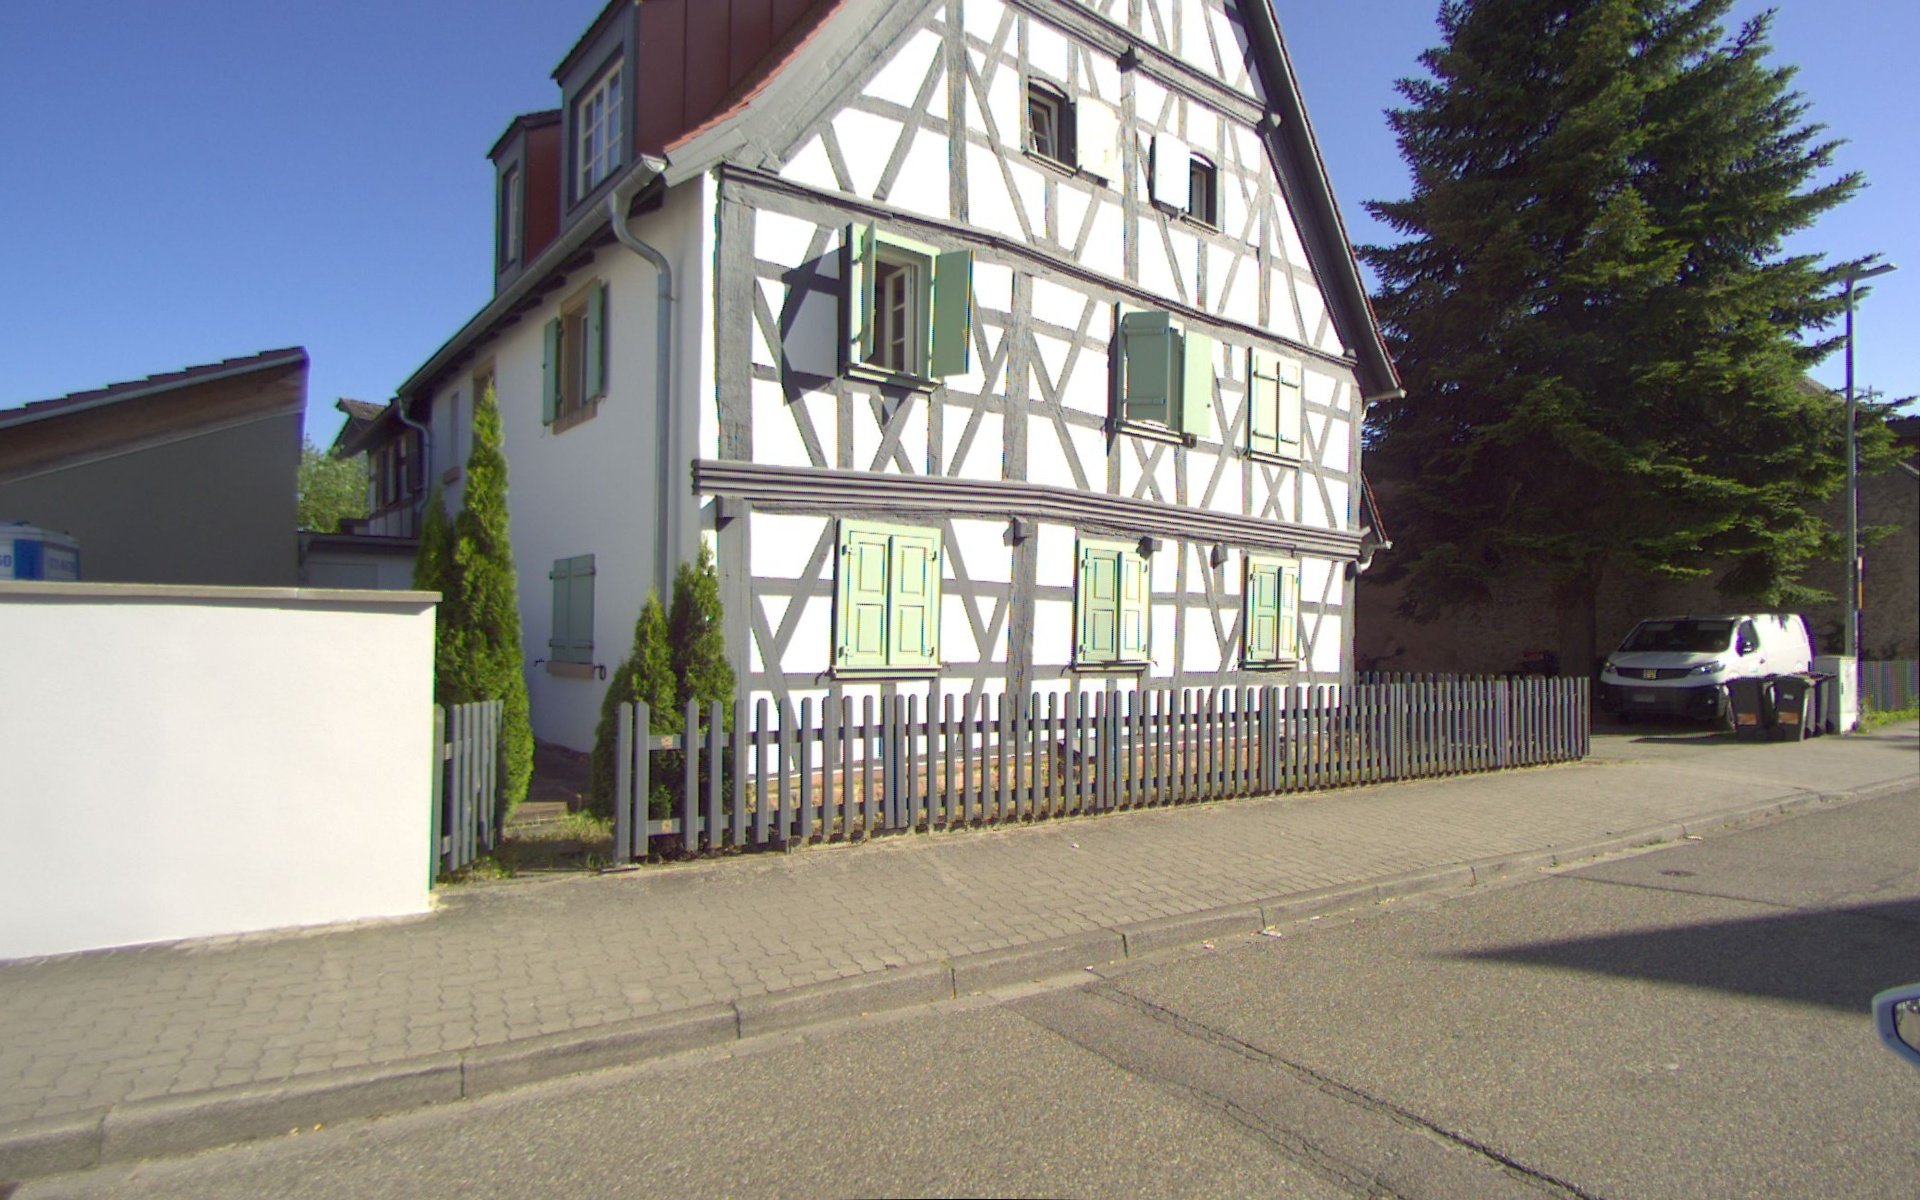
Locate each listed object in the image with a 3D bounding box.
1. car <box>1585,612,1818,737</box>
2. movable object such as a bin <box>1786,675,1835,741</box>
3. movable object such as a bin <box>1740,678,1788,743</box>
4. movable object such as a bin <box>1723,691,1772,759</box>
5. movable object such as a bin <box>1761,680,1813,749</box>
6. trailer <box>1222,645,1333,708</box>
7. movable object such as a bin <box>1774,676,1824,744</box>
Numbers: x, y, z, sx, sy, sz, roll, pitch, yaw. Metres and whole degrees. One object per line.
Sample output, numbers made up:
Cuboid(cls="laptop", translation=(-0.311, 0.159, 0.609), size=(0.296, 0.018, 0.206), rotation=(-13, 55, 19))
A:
Cuboid(cls="car", translation=(13.516, 1.244, 18.206), size=(5.092, 1.981, 1.927), rotation=(1, -2, -36))
Cuboid(cls="movable object such as a bin", translation=(12.806, 1.614, 15.128), size=(0.486, 0.936, 0.417), rotation=(-1, -1, -34))
Cuboid(cls="movable object such as a bin", translation=(12.184, 1.665, 15.221), size=(0.486, 0.936, 0.417), rotation=(-1, -1, -34))
Cuboid(cls="movable object such as a bin", translation=(11.673, 1.841, 14.893), size=(0.486, 0.936, 0.417), rotation=(-1, -1, -34))
Cuboid(cls="movable object such as a bin", translation=(11.988, 1.644, 14.565), size=(0.486, 0.936, 0.437), rotation=(-1, -1, -34))
Cuboid(cls="trailer", translation=(8.513, 2.009, 26.980), size=(1.536, 1.592, 2.409), rotation=(2, -3, -45))
Cuboid(cls="movable object such as a bin", translation=(12.398, 1.614, 14.847), size=(0.486, 0.936, 0.425), rotation=(-1, -1, -34))
